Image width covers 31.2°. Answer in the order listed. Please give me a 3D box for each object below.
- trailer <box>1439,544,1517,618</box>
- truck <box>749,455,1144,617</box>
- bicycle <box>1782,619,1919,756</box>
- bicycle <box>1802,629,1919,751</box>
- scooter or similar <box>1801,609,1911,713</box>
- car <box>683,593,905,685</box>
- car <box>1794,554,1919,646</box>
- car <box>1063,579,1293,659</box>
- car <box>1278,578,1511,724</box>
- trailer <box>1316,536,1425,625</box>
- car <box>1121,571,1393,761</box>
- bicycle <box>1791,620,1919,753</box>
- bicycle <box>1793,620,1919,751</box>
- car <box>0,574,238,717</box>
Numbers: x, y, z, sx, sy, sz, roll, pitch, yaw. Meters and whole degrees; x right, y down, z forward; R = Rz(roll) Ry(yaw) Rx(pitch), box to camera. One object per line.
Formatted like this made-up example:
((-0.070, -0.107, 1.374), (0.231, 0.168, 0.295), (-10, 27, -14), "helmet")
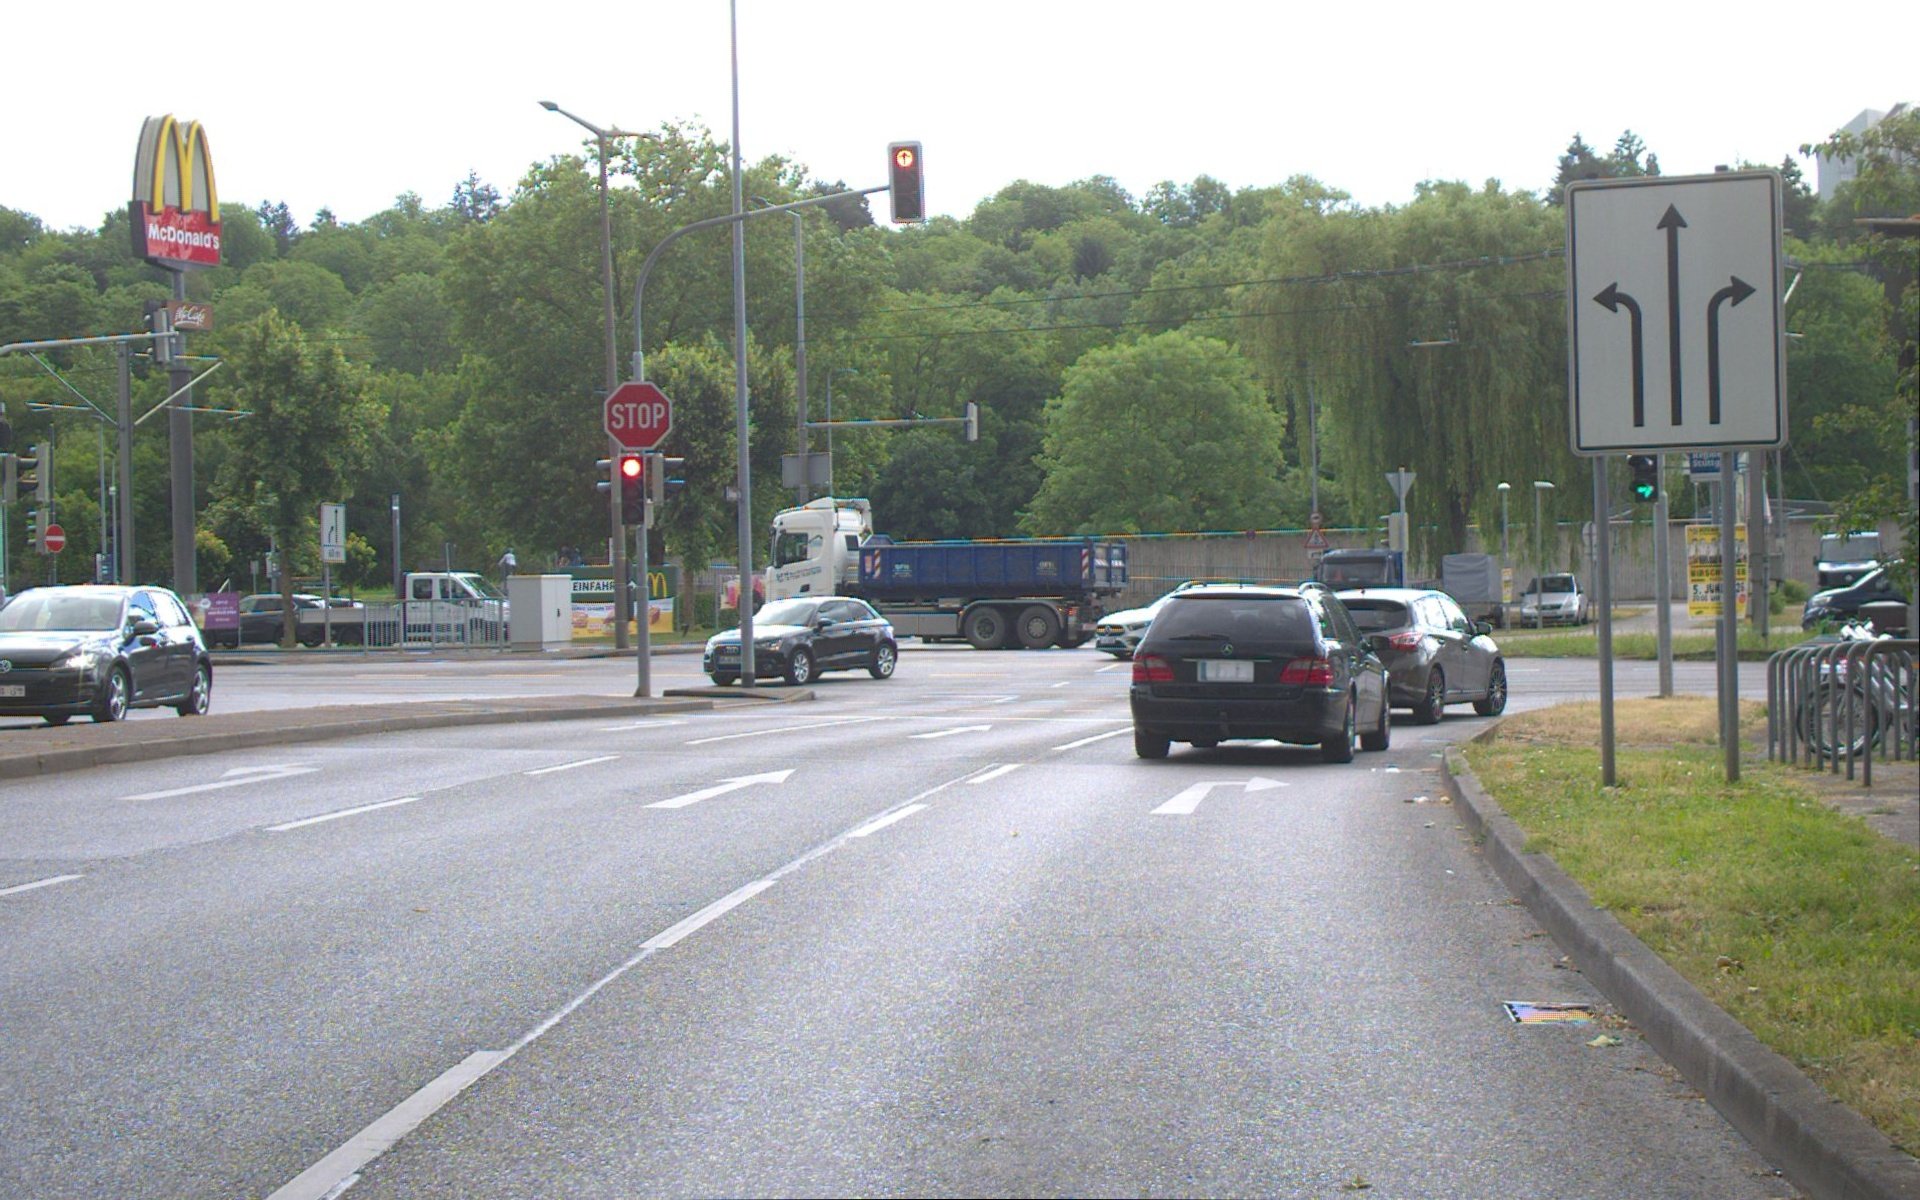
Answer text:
((15.955, -0.562, 105.707), (1.995, 2.177, 3.997), (-2, -1, 13), "trailer")
((-0.348, -1.509, 84.677), (9.110, 3.575, 3.215), (-2, -1, 23), "truck")
((7.682, 0.711, 28.141), (1.781, 1.107, 0.425), (-2, -1, 29), "bicycle")
((8.624, 0.816, 31.403), (1.779, 1.107, 0.553), (0, -1, 10), "bicycle")
((10.170, 0.693, 39.020), (1.182, 1.165, 0.294), (-1, 0, 17), "scooter or similar")
((-2.725, 0.633, 57.175), (1.619, 1.411, 3.887), (-1, 0, 35), "car")
((19.215, -0.028, 69.139), (4.545, 1.768, 1.607), (-1, 0, 6), "car")
((4.213, 0.351, 66.167), (4.278, 1.401, 1.605), (-2, 0, -34), "car")
((5.038, 0.550, 39.442), (1.728, 1.525, 4.144), (-1, 0, 20), "car")
((12.511, -0.581, 104.444), (2.354, 2.573, 4.915), (-2, -1, 17), "trailer")
((2.647, 0.572, 29.672), (1.823, 1.504, 4.571), (0, -1, 12), "car")
((7.900, 0.723, 28.831), (1.780, 1.107, 0.455), (-1, -1, 15), "bicycle")
((8.094, 0.730, 29.525), (1.779, 1.107, 0.579), (-1, -1, 10), "bicycle")
((-8.867, 0.427, 35.114), (1.677, 1.361, 4.310), (0, 0, 6), "car")
